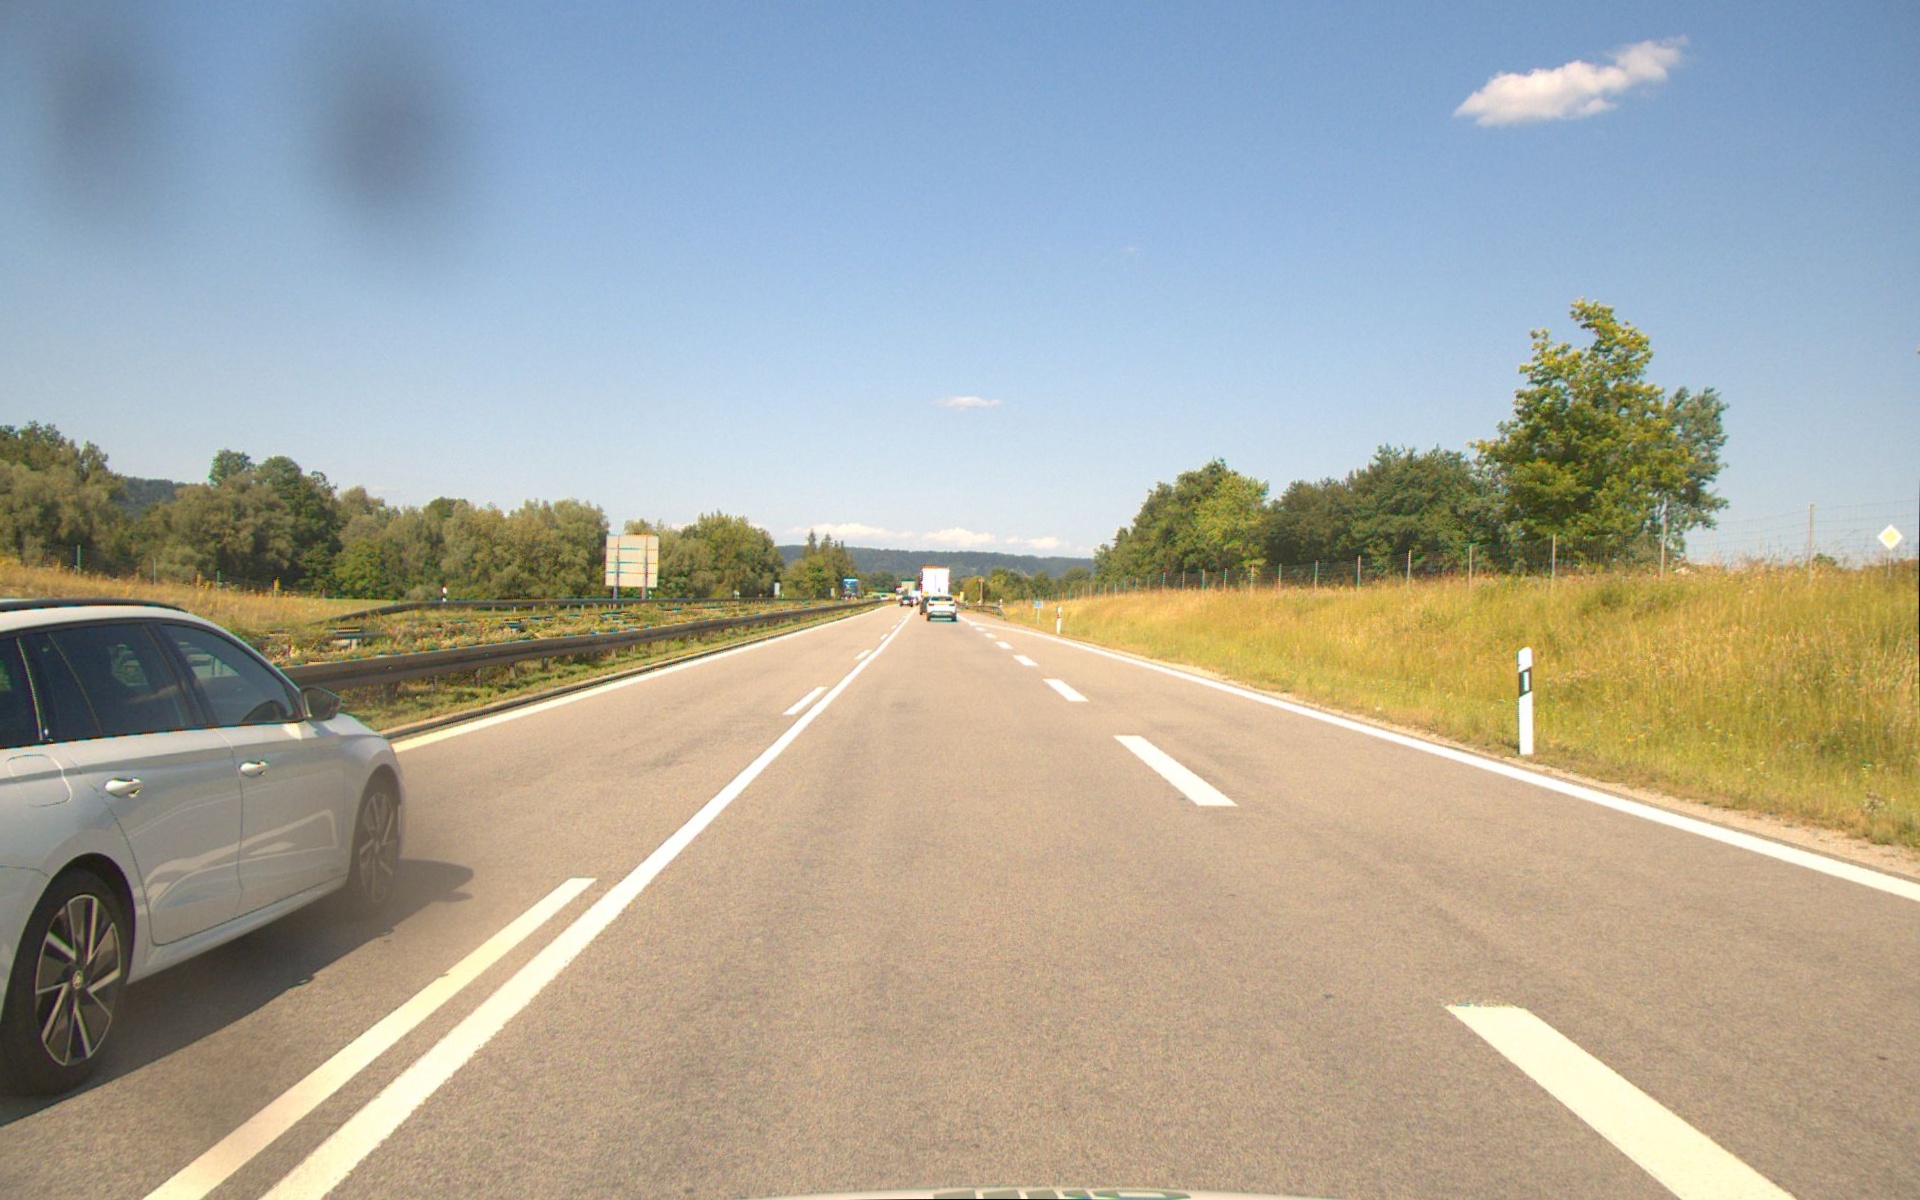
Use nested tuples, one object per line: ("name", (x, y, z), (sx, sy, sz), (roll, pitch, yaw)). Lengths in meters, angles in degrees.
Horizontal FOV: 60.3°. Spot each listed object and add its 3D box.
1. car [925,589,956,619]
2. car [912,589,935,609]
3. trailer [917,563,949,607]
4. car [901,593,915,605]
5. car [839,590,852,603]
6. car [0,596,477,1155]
("car", (-1.146, 0.191, 96.789), (1.651, 1.521, 4.986), (5, 1, -1))
("car", (-2.839, -0.062, 128.910), (1.631, 1.480, 4.543), (3, 0, -1))
("trailer", (-2.502, -1.375, 157.960), (2.761, 4.036, 14.159), (1, 0, 0))
("car", (-7.063, -0.113, 226.100), (1.735, 1.446, 4.494), (3, 0, -1))
("car", (-17.915, -0.571, 259.028), (1.812, 1.835, 4.870), (0, 1, -1))
("car", (-3.447, 0.722, 6.181), (1.803, 1.446, 5.253), (1, 0, -1))
